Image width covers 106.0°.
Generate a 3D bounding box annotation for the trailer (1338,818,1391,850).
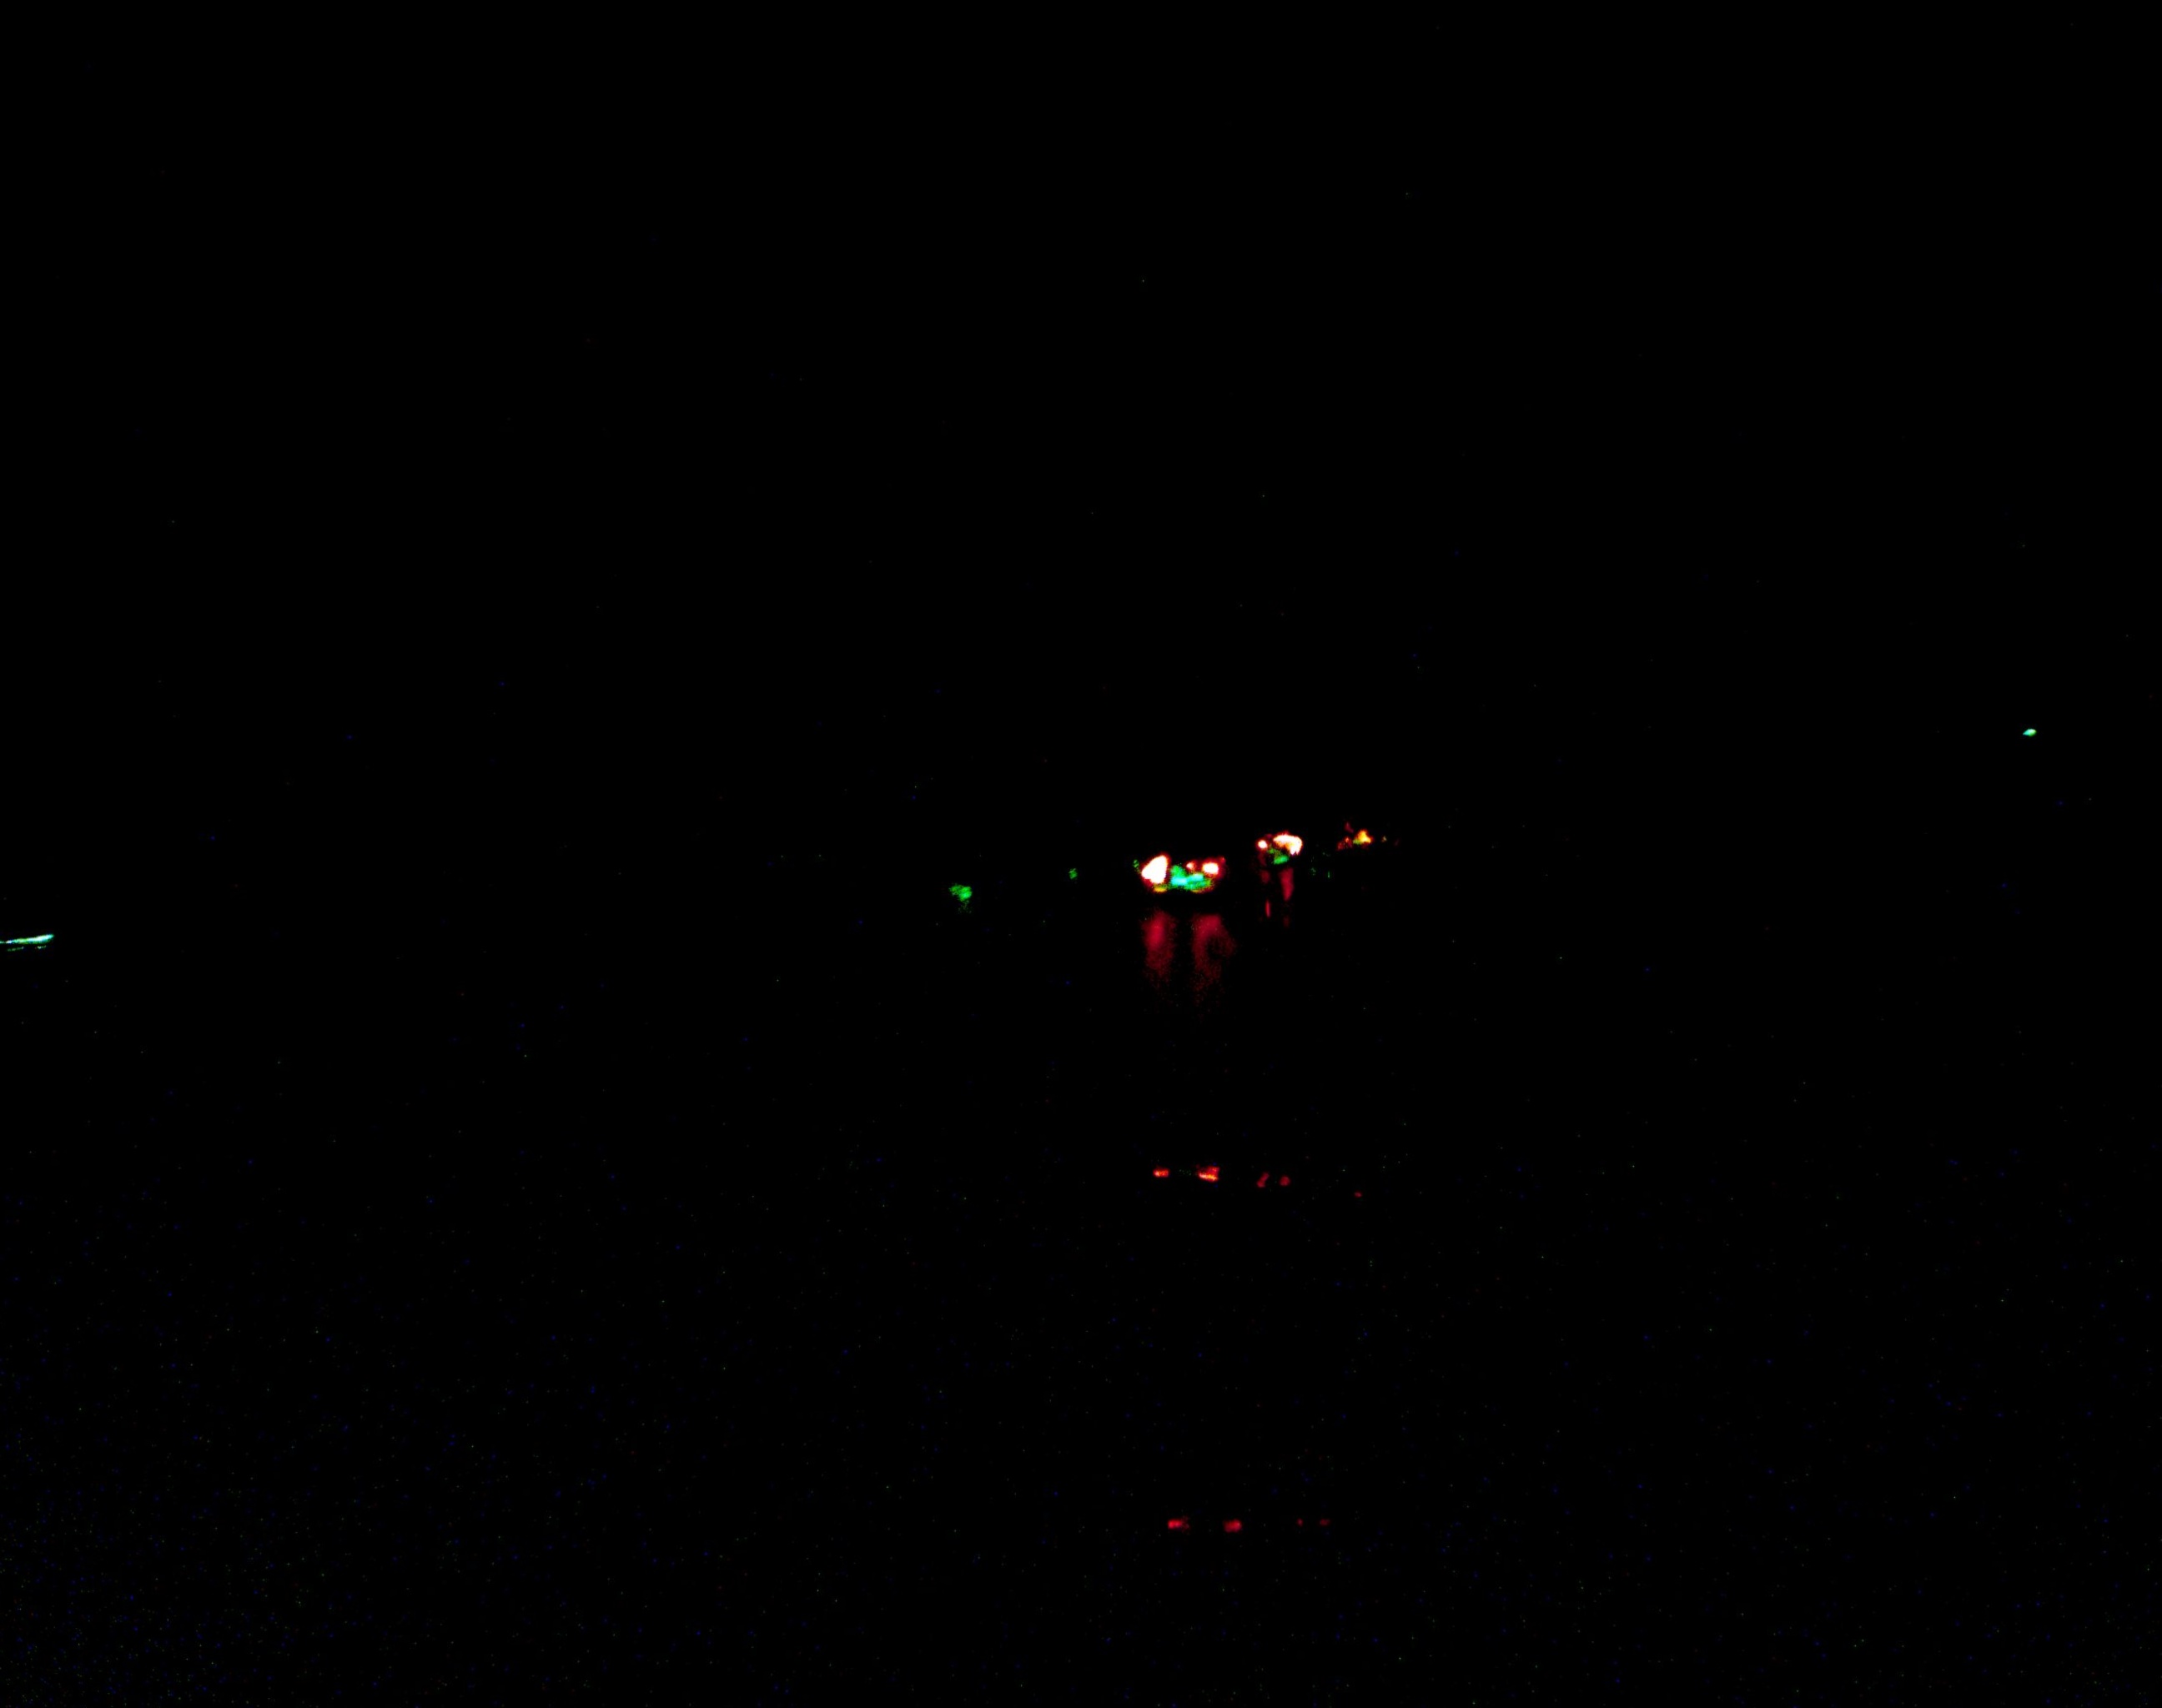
[{"bbox_3d":[20.905,-1.374,59.639,2.058,2.014,10.711,-5,-2,27],"label":"trailer"}]
